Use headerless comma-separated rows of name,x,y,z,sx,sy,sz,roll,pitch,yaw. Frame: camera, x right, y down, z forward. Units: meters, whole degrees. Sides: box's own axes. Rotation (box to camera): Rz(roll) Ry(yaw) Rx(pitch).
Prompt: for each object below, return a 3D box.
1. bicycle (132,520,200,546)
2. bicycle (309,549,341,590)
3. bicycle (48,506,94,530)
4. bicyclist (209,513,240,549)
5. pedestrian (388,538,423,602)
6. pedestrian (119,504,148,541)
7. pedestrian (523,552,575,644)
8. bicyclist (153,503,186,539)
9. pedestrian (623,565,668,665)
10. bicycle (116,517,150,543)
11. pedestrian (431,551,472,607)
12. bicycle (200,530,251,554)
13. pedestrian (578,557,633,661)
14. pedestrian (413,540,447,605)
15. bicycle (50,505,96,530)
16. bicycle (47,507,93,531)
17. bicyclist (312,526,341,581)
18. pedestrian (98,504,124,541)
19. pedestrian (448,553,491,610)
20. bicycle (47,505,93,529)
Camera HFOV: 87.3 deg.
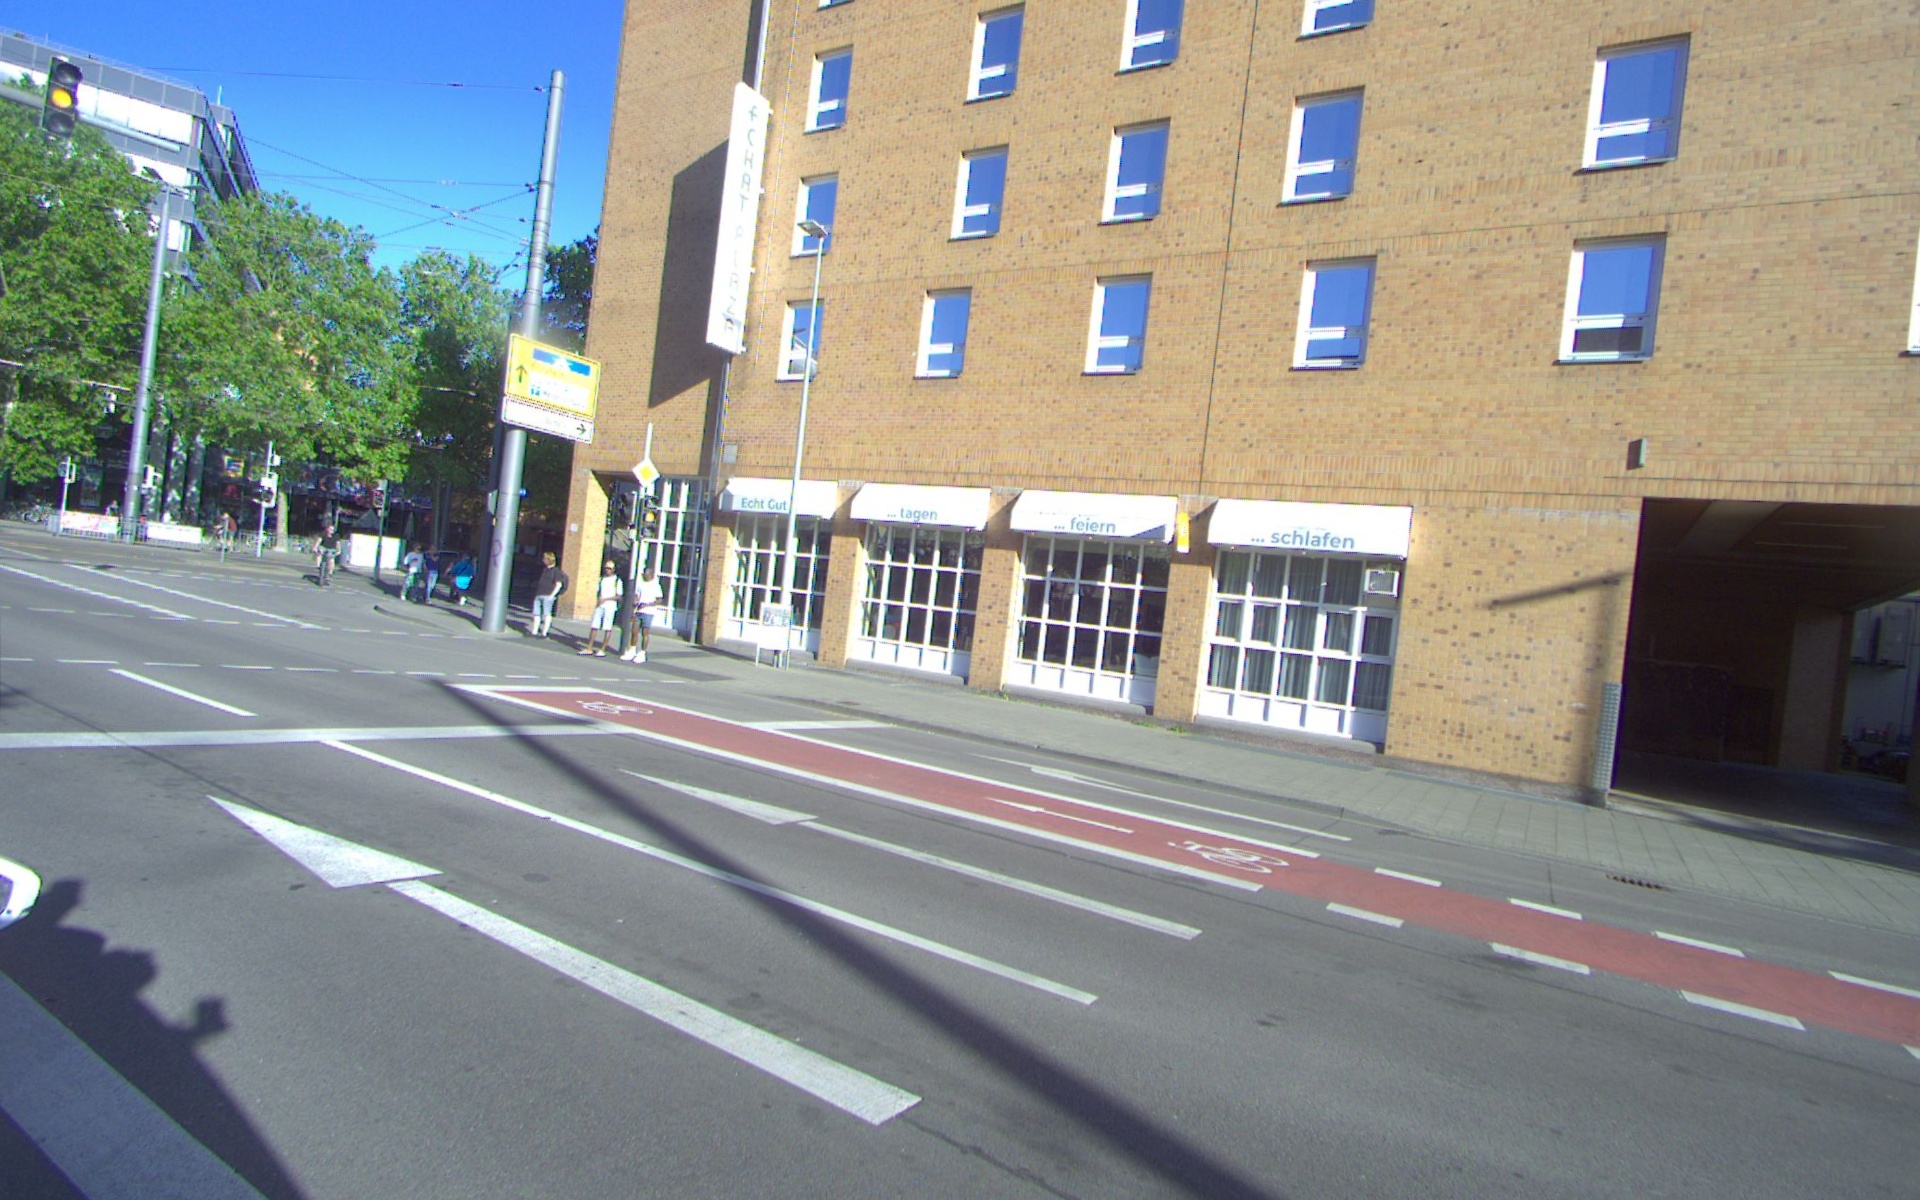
bicycle,-47.855,-4.024,60.670,0.822,1.126,3.042,7,-1,35
bicycle,-18.666,-0.917,29.588,0.595,1.065,1.867,3,4,-27
bicycle,-46.021,-4.247,52.090,1.700,0.998,0.386,7,0,-45
bicyclist,-36.272,-3.385,49.618,0.627,1.635,0.926,7,0,35
pedestrian,-15.597,-0.837,28.320,0.555,1.723,0.656,7,-1,-19
pedestrian,-39.625,-3.697,48.253,0.764,1.612,0.832,8,-1,-29
pedestrian,-8.507,-0.034,20.840,0.683,1.789,0.573,8,0,-9
bicyclist,-47.711,-4.736,60.734,0.822,1.955,1.227,7,0,35
pedestrian,-5.841,0.270,18.723,0.568,1.797,0.405,5,2,-3
bicycle,-39.675,-3.324,48.265,0.783,1.064,1.910,8,-2,-28
pedestrian,-15.455,-0.639,30.583,0.729,1.557,0.652,7,-1,24
bicycle,-36.276,-2.847,49.691,0.642,0.921,1.854,7,-1,36
pedestrian,-6.668,0.164,18.946,0.719,1.857,0.497,5,2,-3
pedestrian,-15.126,-0.779,28.713,0.595,1.747,0.600,7,-1,-20
bicycle,-45.401,-4.220,51.508,1.700,0.998,0.386,7,0,-45
bicycle,-46.665,-4.265,52.755,1.700,0.998,0.386,7,0,-45
bicyclist,-18.709,-1.383,29.724,0.573,1.536,0.843,3,5,-27
pedestrian,-46.819,-4.271,55.472,0.845,1.873,0.799,10,-2,-44
pedestrian,-14.548,-0.548,29.847,0.729,1.557,0.677,7,-1,24
bicycle,-46.971,-4.387,53.103,1.700,0.998,0.386,7,0,-45
